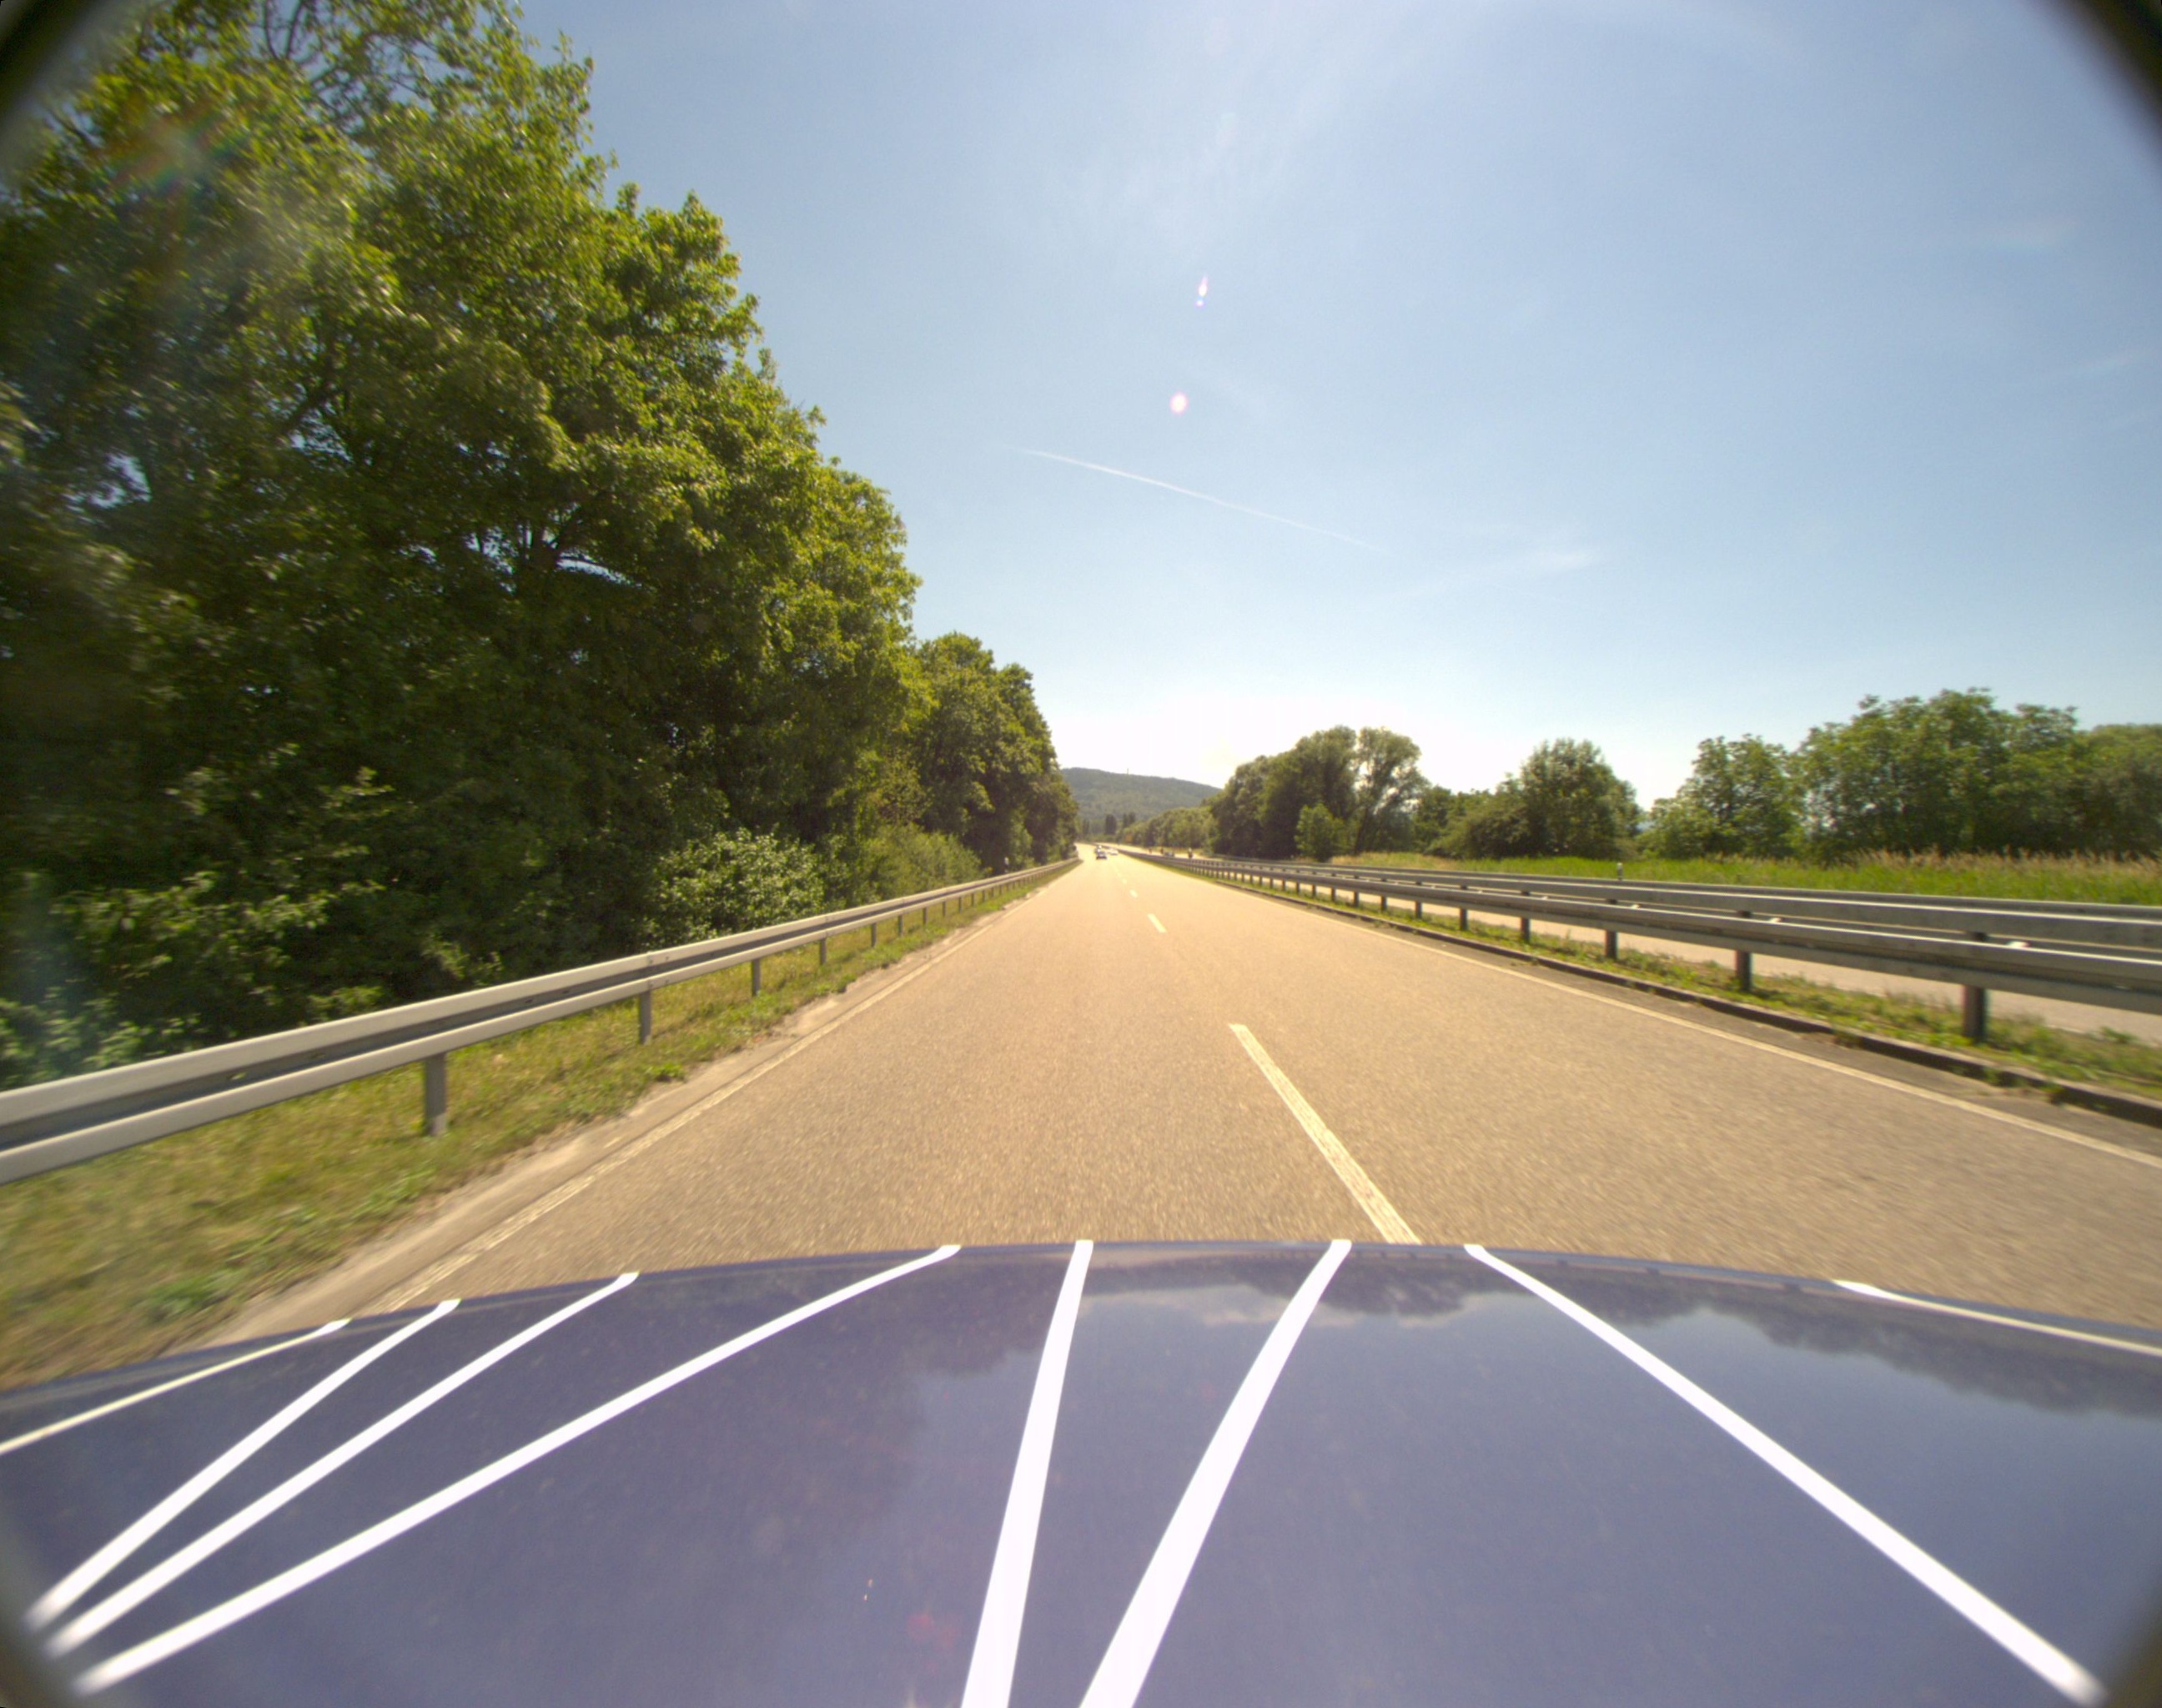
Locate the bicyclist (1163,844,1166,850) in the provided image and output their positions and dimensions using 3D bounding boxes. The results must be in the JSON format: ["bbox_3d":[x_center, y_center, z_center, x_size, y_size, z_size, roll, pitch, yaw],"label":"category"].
[{"bbox_3d":[19.608,-1.702,178.690,0.615,1.270,0.608,-1,1,1],"label":"bicyclist"}]

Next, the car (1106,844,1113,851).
[{"bbox_3d":[8.143,-1.809,215.096,1.908,1.687,3.891,-2,2,4],"label":"car"}]

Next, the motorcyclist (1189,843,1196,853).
[{"bbox_3d":[18.822,-0.986,128.311,0.947,1.608,0.809,0,1,1],"label":"motorcyclist"}]

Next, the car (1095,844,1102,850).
[{"bbox_3d":[5.318,-2.214,230.137,1.908,1.687,3.891,-2,2,4],"label":"car"}]

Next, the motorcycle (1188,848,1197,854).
[{"bbox_3d":[18.831,-0.486,128.185,1.066,1.058,3.818,0,1,2],"label":"motorcycle"}]

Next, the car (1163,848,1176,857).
[{"bbox_3d":[13.190,-0.222,113.374,1.632,1.324,3.535,-1,1,2],"label":"car"}]

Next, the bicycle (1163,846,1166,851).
[{"bbox_3d":[19.636,-1.222,178.717,0.615,1.151,2.280,-1,1,2],"label":"bicycle"}]

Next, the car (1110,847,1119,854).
[{"bbox_3d":[8.179,-0.865,185.407,1.908,1.687,3.891,-2,2,4],"label":"car"}]

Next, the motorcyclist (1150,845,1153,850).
[{"bbox_3d":[18.499,-1.700,198.209,0.720,1.100,0.809,0,1,2],"label":"motorcyclist"}]
